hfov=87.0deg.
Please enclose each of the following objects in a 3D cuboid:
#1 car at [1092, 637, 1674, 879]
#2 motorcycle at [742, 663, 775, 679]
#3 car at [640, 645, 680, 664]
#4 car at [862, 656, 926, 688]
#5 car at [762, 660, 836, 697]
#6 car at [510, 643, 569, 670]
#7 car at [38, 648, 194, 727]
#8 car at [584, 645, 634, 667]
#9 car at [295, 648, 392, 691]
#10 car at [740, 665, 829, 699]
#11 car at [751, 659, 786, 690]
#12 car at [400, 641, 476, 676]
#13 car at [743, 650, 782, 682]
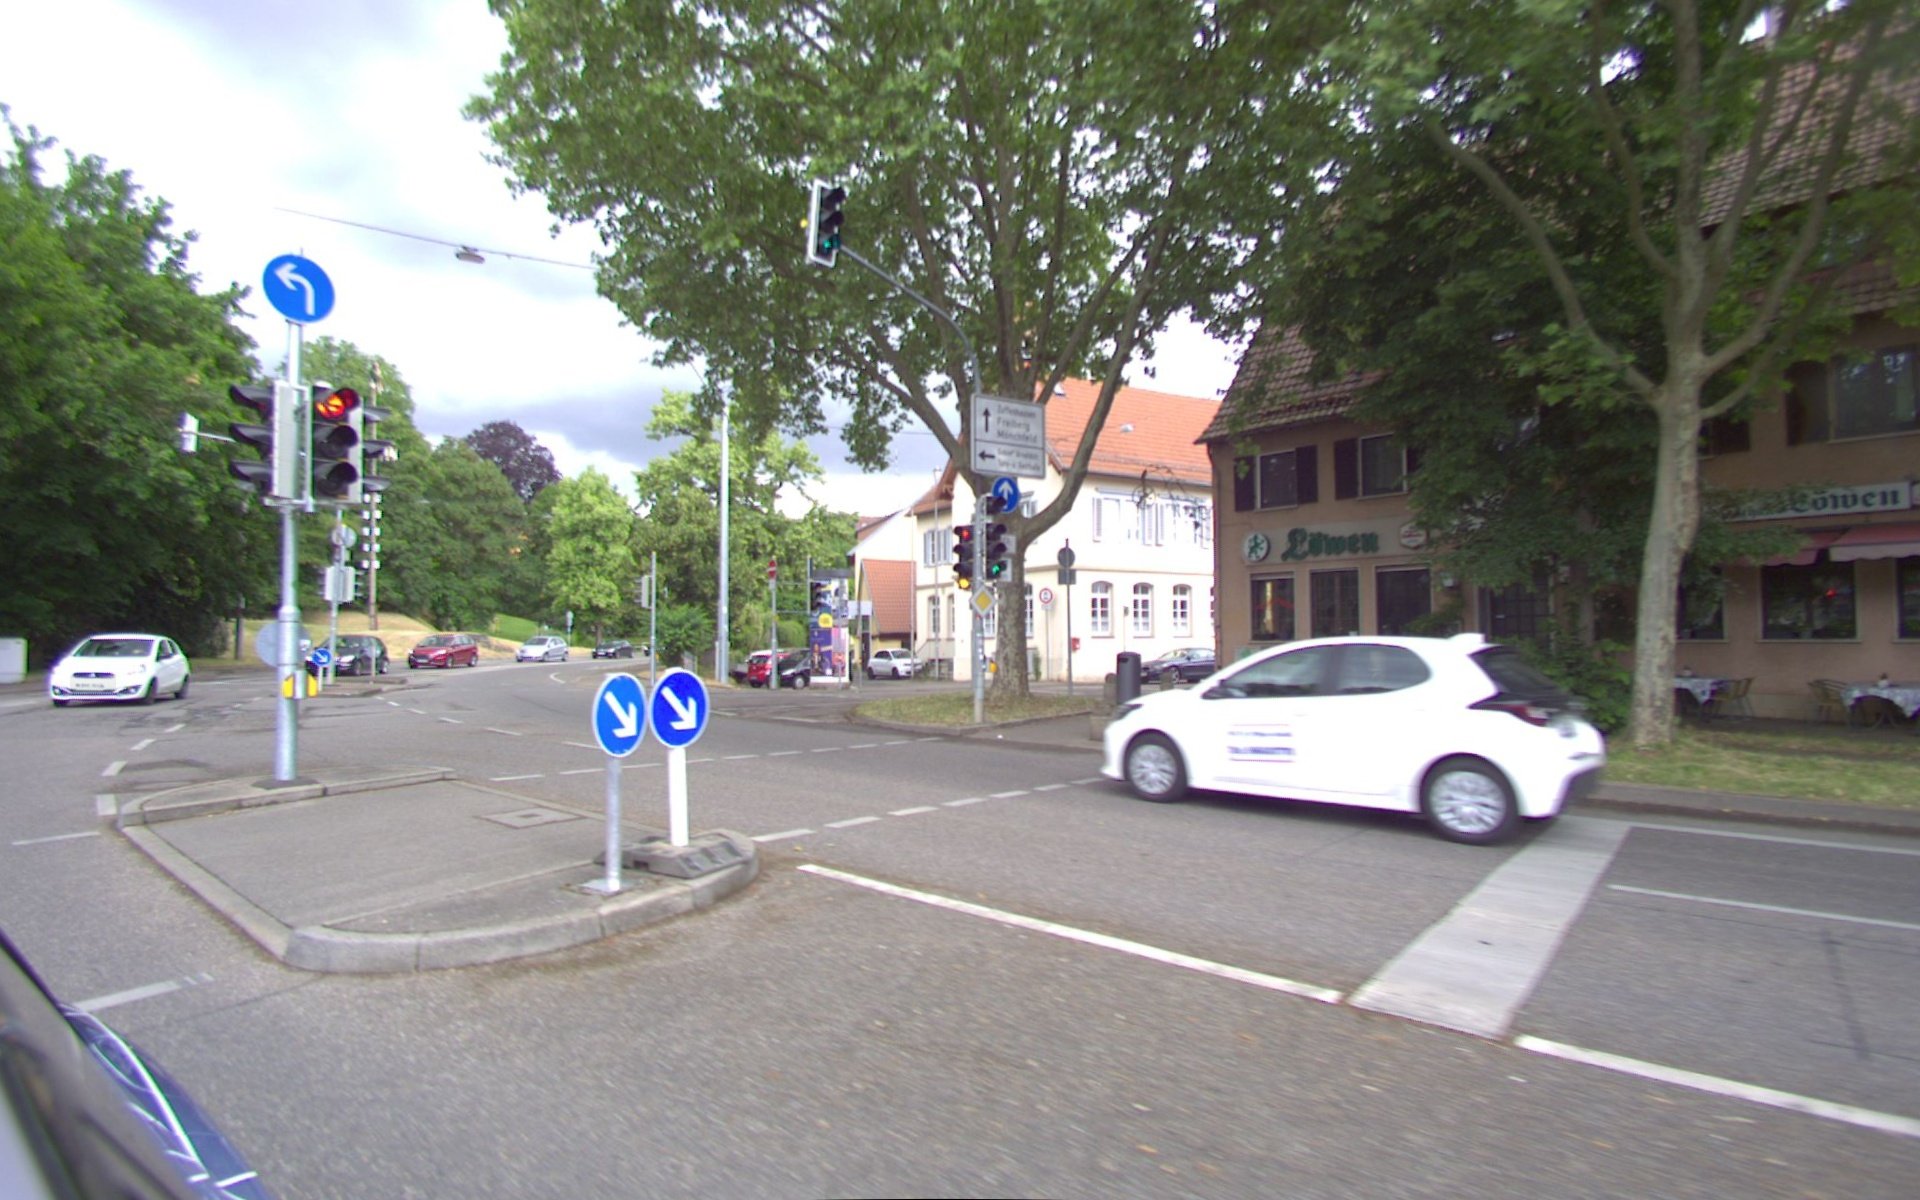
[{"bbox_3d":[3.232,1.060,8.246,4.021,1.477,1.743,-2,-4,43],"label":"car"},{"bbox_3d":[-10.118,3.563,50.829,1.559,0.830,0.419,1,-2,-6],"label":"motorcycle"},{"bbox_3d":[-24.219,4.393,81.795,1.678,1.422,3.973,0,-2,7],"label":"car"},{"bbox_3d":[-3.356,3.589,50.970,1.626,1.503,3.490,2,-3,-35],"label":"car"},{"bbox_3d":[-6.144,3.019,38.946,1.471,1.320,3.380,0,-4,17],"label":"car"},{"bbox_3d":[-25.753,3.454,62.074,1.761,1.581,3.995,0,-2,4],"label":"car"},{"bbox_3d":[-18.007,1.804,21.800,1.601,1.520,4.013,1,-3,-25],"label":"car"},{"bbox_3d":[-25.289,4.016,73.028,1.833,1.469,3.991,0,-2,7],"label":"car"},{"bbox_3d":[-23.873,2.660,39.371,1.705,1.532,4.006,1,-2,-7],"label":"car"},{"bbox_3d":[-7.678,3.561,44.379,3.576,1.364,1.601,3,-3,-45],"label":"car"},{"bbox_3d":[-11.128,4.296,58.754,1.904,1.620,3.670,0,-2,-12],"label":"car"},{"bbox_3d":[-25.460,2.827,49.508,1.652,1.654,4.101,0,-2,-1],"label":"car"},{"bbox_3d":[-10.648,3.517,54.711,1.871,1.640,4.006,0,-2,-8],"label":"car"}]
